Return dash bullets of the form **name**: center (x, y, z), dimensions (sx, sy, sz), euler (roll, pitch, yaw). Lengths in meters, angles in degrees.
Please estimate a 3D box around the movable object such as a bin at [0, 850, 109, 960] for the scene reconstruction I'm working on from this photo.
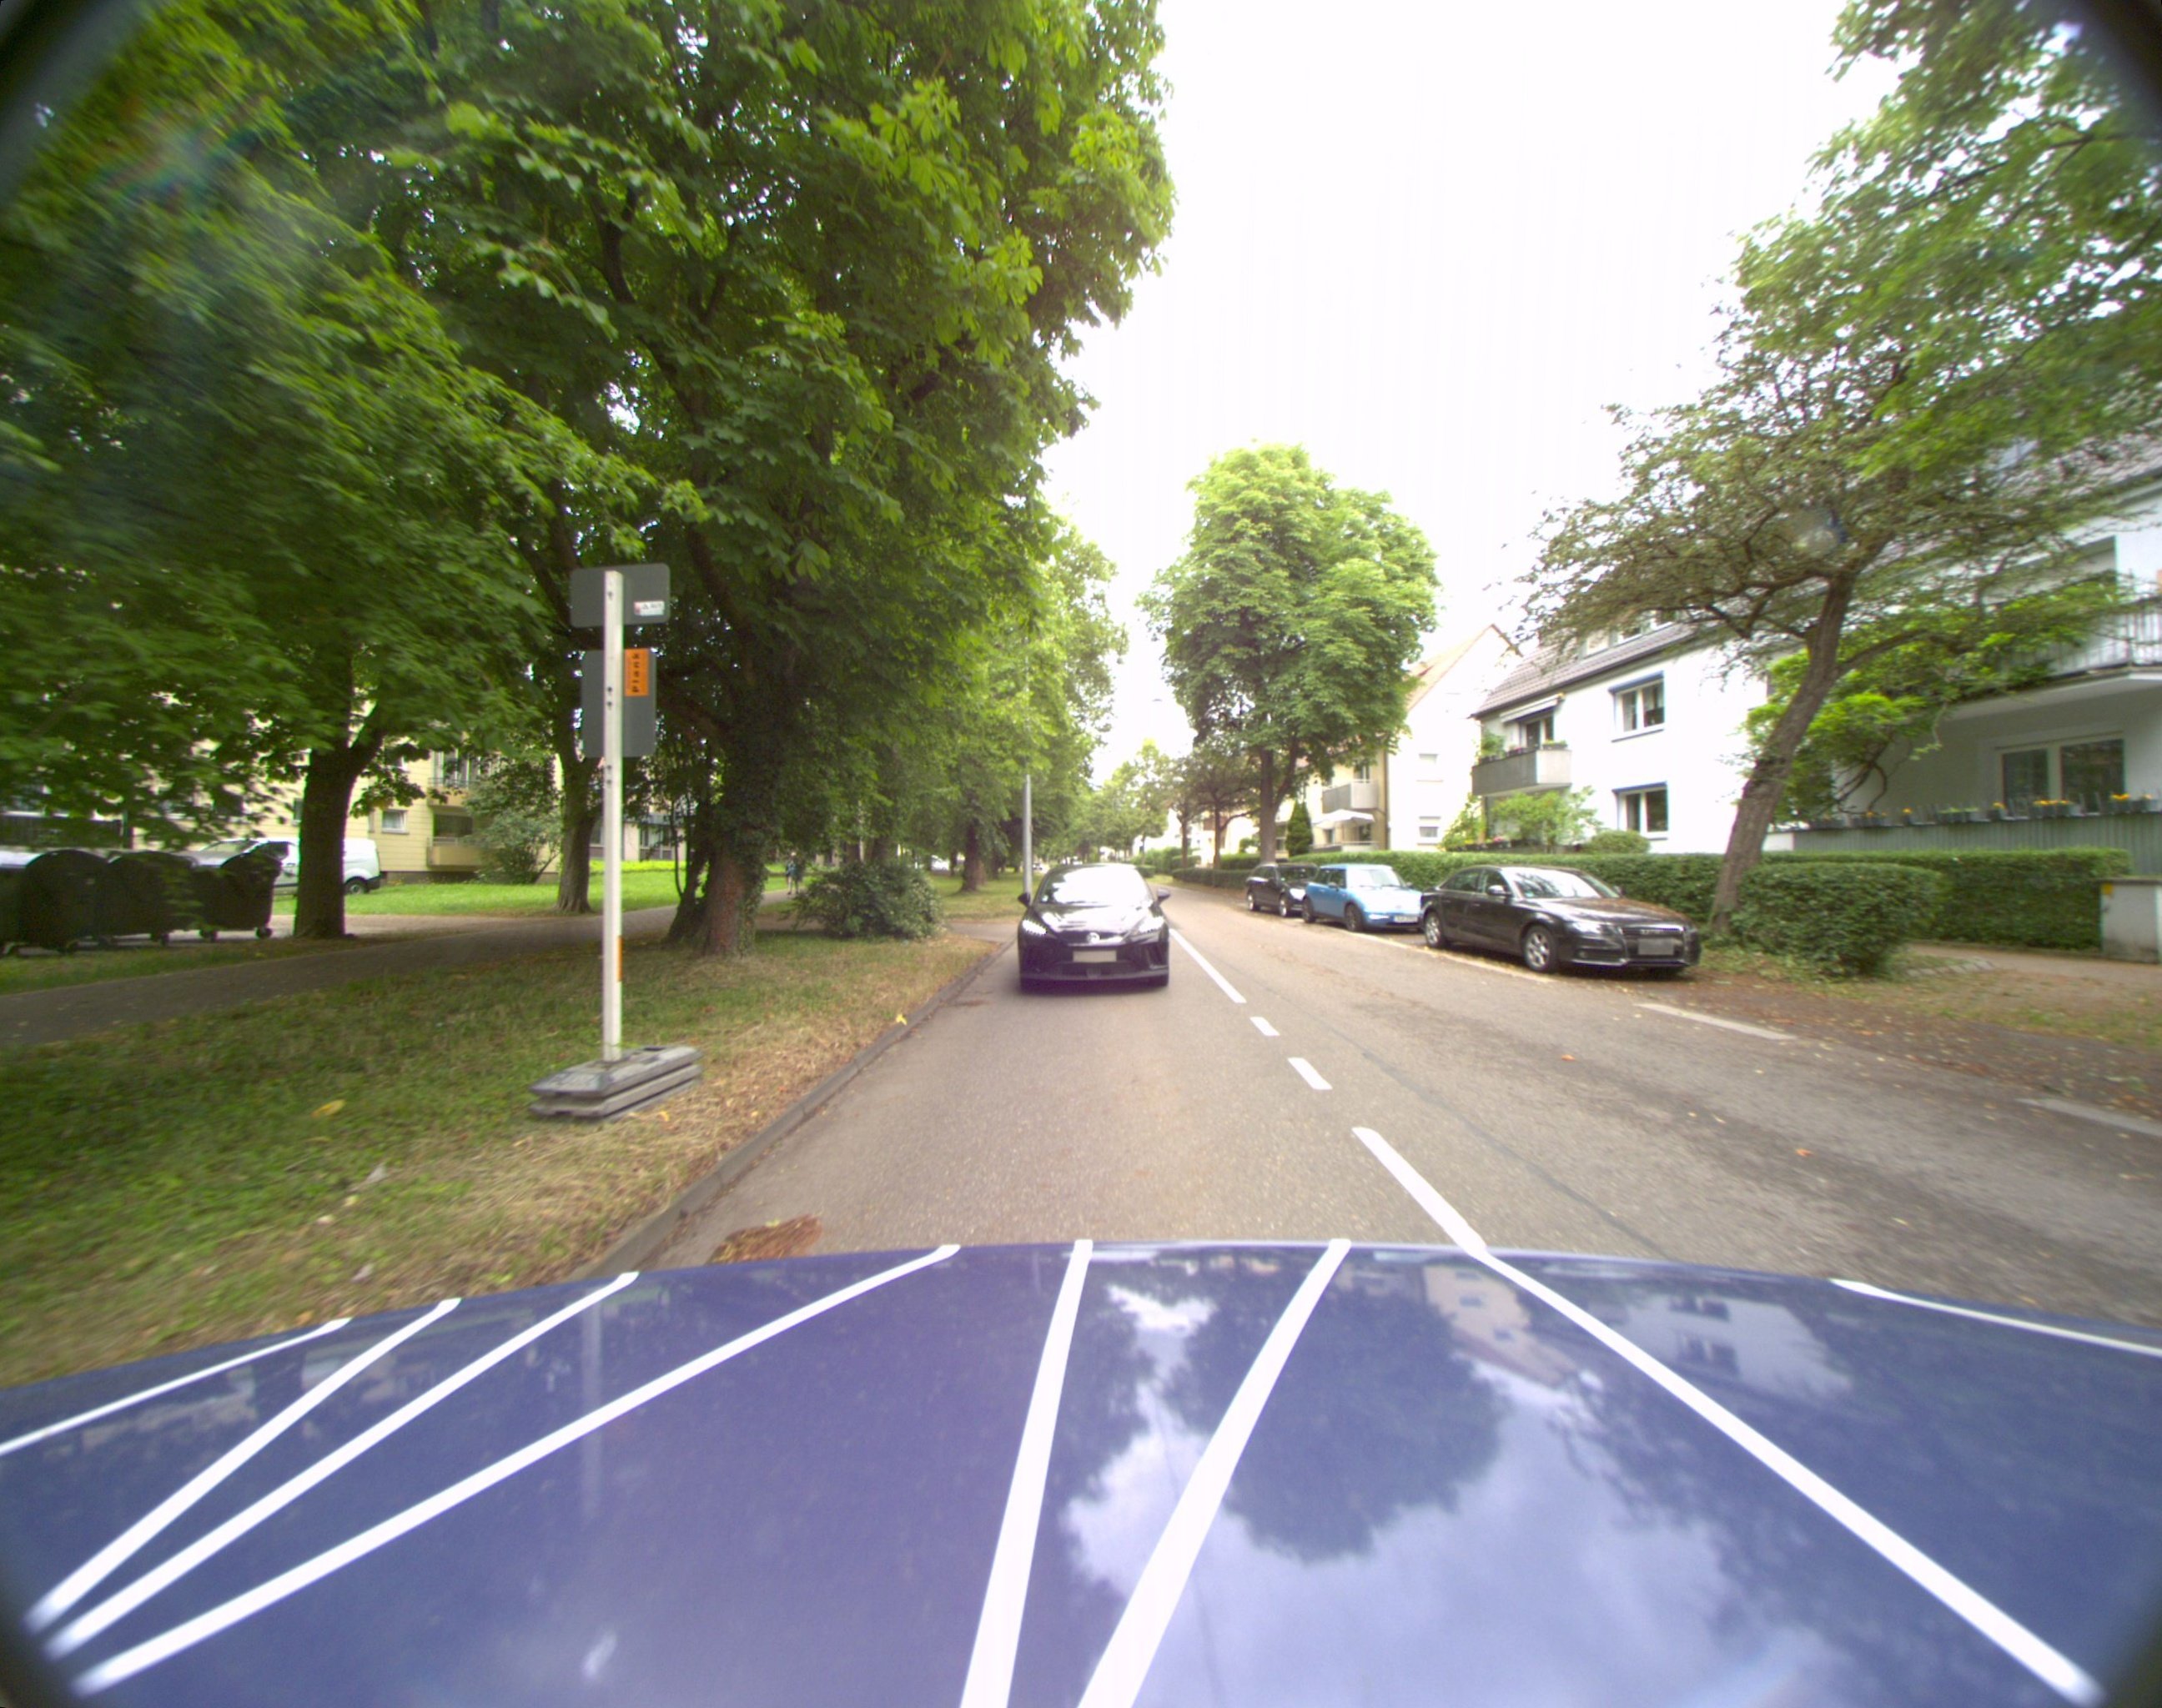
- **movable object such as a bin**: center (-15.424, 0.690, 10.863), dimensions (1.330, 1.492, 1.314), euler (1, 0, -5)

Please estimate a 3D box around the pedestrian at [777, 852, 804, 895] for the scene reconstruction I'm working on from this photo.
- **pedestrian**: center (-11.753, 0.781, 30.776), dimensions (0.770, 1.676, 0.814), euler (1, 0, -4)

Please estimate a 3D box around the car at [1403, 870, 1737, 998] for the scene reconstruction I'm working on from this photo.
- **car**: center (6.673, 0.983, 11.144), dimensions (1.799, 1.402, 4.644), euler (1, 0, -2)

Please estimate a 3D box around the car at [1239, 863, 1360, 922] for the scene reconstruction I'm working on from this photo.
- **car**: center (5.977, 1.007, 21.371), dimensions (1.799, 1.463, 4.416), euler (1, 0, -5)

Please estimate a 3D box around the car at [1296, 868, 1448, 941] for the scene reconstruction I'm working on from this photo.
- **car**: center (6.218, 1.024, 16.710), dimensions (1.669, 1.383, 3.705), euler (1, 0, -5)

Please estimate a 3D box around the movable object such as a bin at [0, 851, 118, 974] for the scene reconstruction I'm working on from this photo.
- **movable object such as a bin**: center (-13.845, 0.709, 9.716), dimensions (1.330, 1.492, 1.314), euler (1, 0, -5)

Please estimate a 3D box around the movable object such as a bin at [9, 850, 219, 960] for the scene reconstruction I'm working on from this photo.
- **movable object such as a bin**: center (-13.972, 0.713, 11.059), dimensions (1.330, 1.492, 1.314), euler (1, 0, -5)

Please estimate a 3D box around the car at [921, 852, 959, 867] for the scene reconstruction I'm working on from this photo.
- **car**: center (-21.701, 0.875, 117.150), dimensions (5.337, 2.285, 2.286), euler (1, -1, -38)

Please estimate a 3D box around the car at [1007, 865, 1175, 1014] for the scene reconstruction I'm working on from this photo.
- **car**: center (0.140, 0.971, 10.559), dimensions (1.799, 1.552, 4.471), euler (-1, 0, 1)

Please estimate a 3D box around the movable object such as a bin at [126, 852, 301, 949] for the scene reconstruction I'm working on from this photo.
- **movable object such as a bin**: center (-14.102, 0.732, 12.426), dimensions (1.330, 1.492, 1.314), euler (1, 0, -5)

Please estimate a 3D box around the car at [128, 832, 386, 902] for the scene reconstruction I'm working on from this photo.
- **car**: center (-24.423, 0.422, 22.893), dimensions (2.090, 1.831, 4.971), euler (1, -1, 6)

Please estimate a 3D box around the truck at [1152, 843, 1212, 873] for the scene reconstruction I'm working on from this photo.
- **truck**: center (10.610, 0.410, 79.832), dimensions (5.814, 3.112, 2.517), euler (0, 0, -6)
